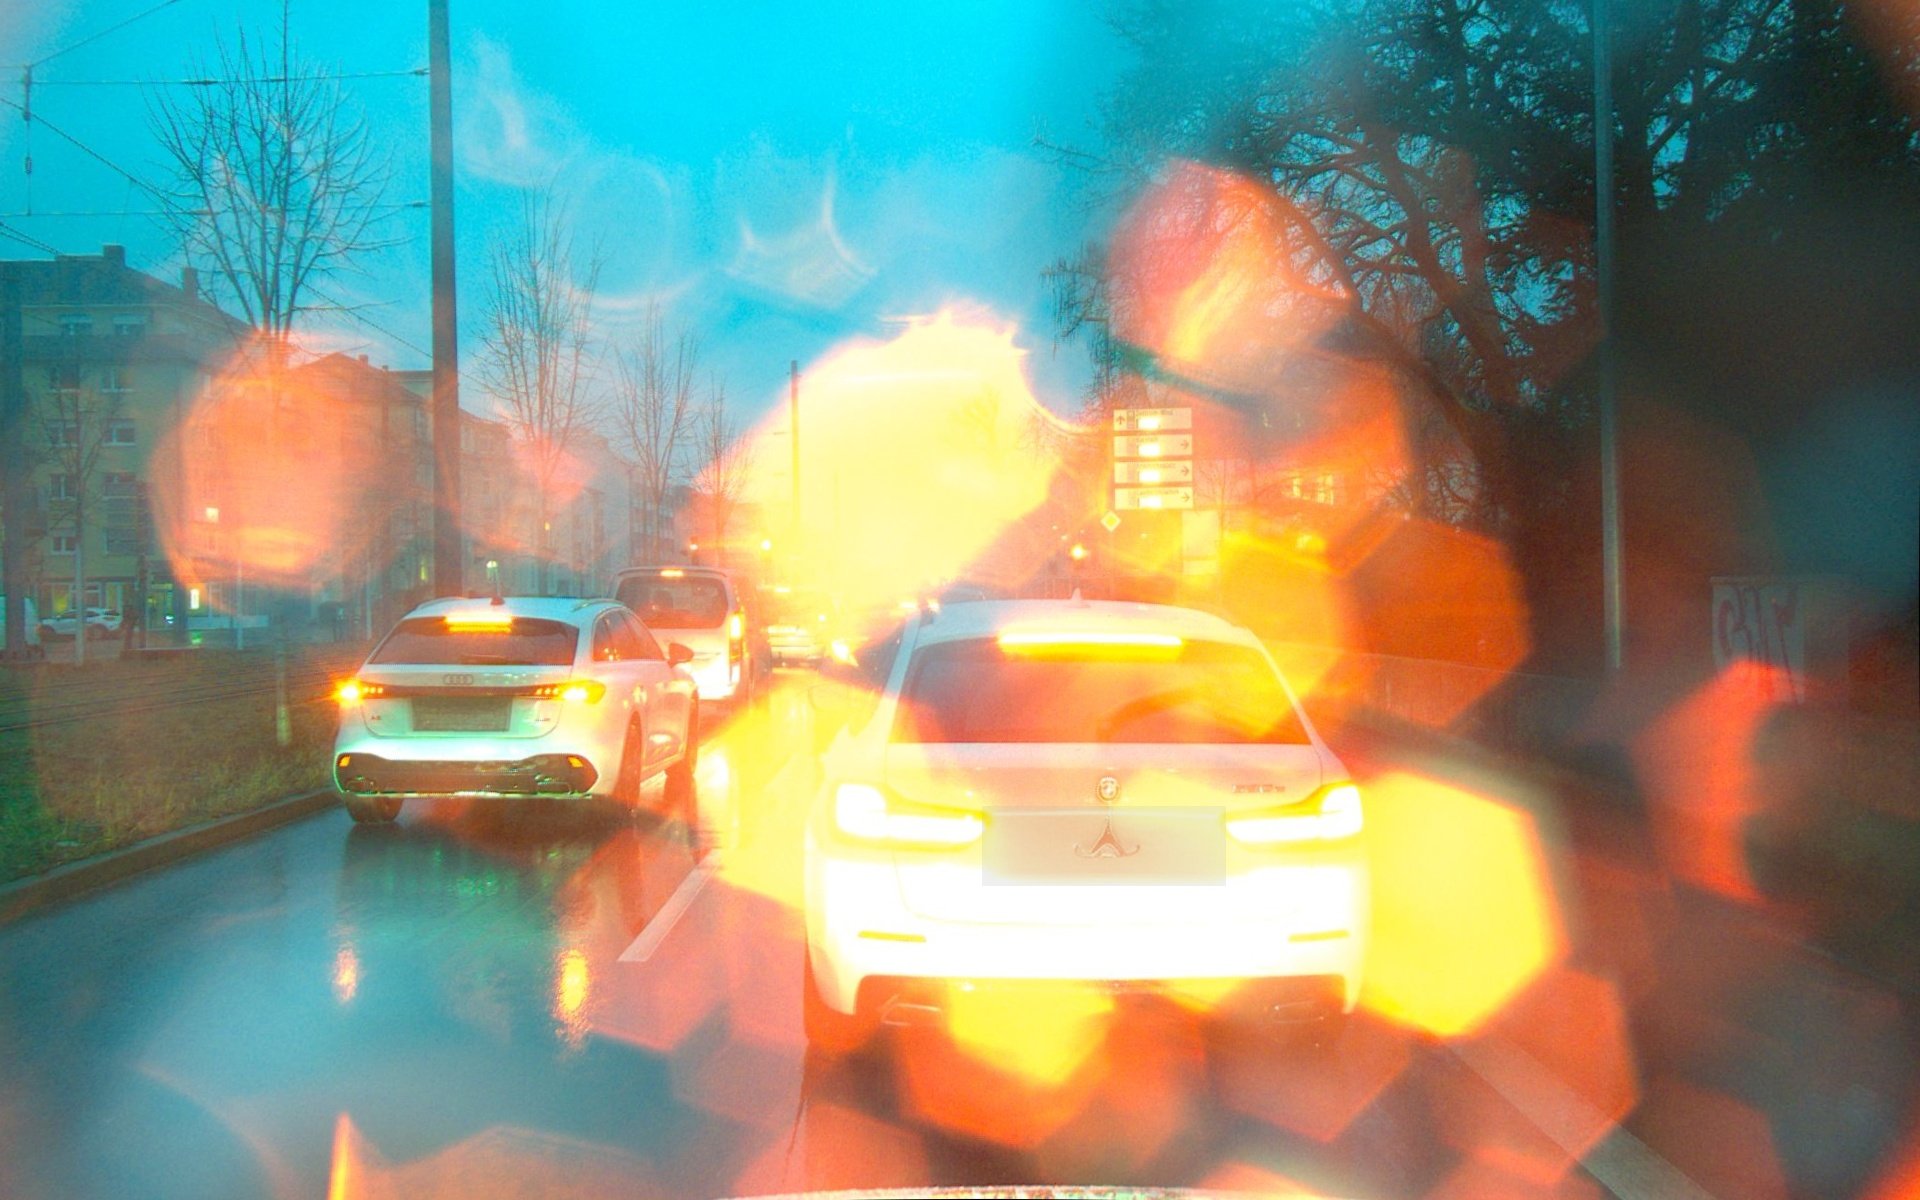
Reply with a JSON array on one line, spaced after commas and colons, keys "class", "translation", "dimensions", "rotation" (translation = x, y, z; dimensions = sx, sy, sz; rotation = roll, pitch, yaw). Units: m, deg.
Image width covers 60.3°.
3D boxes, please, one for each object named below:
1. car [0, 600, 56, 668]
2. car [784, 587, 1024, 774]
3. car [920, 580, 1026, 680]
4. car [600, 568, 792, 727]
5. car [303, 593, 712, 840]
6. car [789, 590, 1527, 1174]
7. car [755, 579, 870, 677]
[{"class": "car", "translation": [-29.017, 1.018, 47.639], "dimensions": [1.952, 1.945, 5.164], "rotation": [-1, 0, 21]}, {"class": "car", "translation": [-0.472, 0.623, 15.218], "dimensions": [1.896, 1.483, 4.163], "rotation": [0, 0, -1]}, {"class": "car", "translation": [0.192, 0.489, 29.734], "dimensions": [1.770, 1.674, 3.999], "rotation": [0, 0, -1]}, {"class": "car", "translation": [-3.181, 0.530, 20.745], "dimensions": [1.757, 1.766, 4.536], "rotation": [0, 0, -1]}, {"class": "car", "translation": [-2.979, 0.681, 11.952], "dimensions": [1.809, 1.430, 4.612], "rotation": [0, 0, -2]}, {"class": "car", "translation": [0.500, 0.730, 6.459], "dimensions": [1.958, 1.534, 4.163], "rotation": [0, 0, -1]}, {"class": "car", "translation": [-2.626, 0.463, 30.214], "dimensions": [1.770, 1.674, 3.999], "rotation": [0, 0, -1]}]
